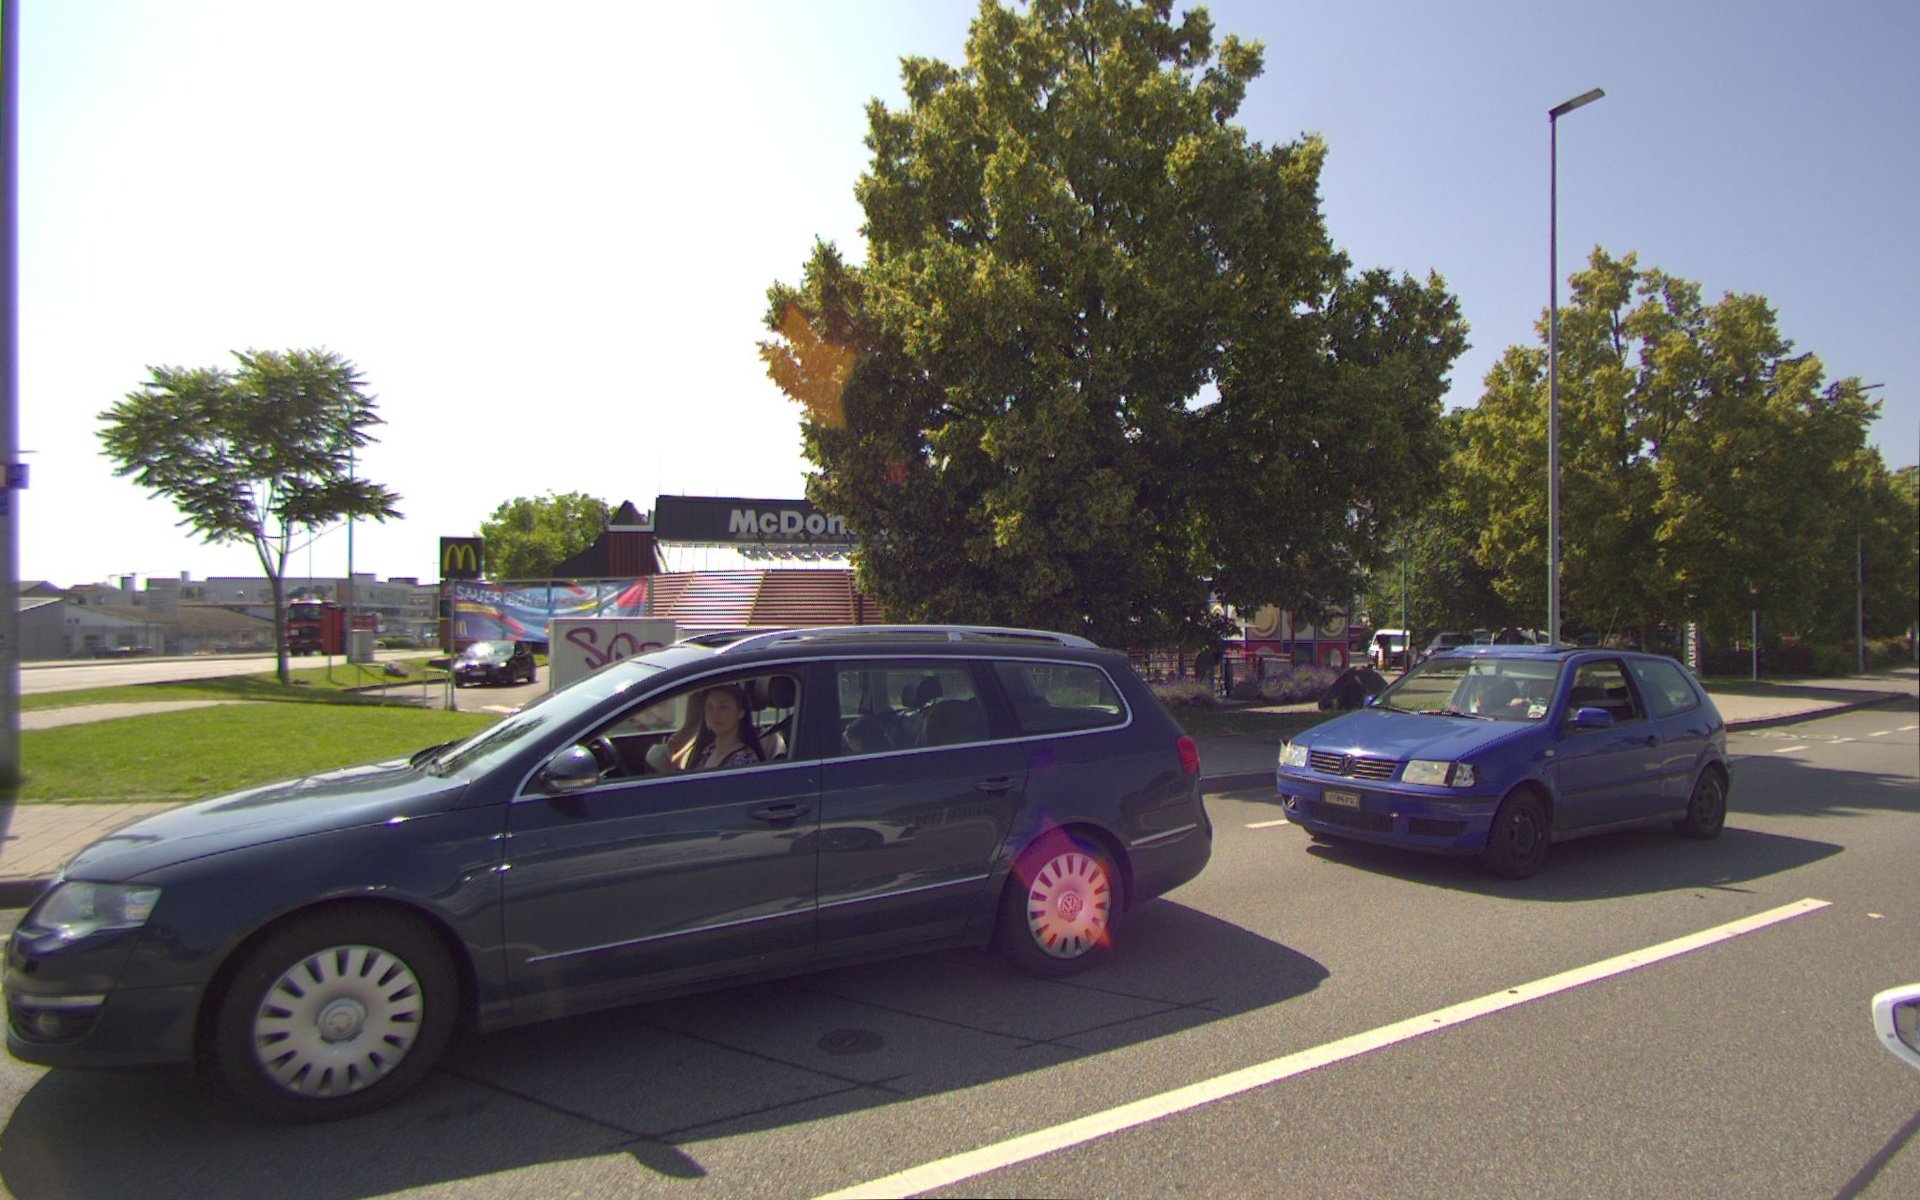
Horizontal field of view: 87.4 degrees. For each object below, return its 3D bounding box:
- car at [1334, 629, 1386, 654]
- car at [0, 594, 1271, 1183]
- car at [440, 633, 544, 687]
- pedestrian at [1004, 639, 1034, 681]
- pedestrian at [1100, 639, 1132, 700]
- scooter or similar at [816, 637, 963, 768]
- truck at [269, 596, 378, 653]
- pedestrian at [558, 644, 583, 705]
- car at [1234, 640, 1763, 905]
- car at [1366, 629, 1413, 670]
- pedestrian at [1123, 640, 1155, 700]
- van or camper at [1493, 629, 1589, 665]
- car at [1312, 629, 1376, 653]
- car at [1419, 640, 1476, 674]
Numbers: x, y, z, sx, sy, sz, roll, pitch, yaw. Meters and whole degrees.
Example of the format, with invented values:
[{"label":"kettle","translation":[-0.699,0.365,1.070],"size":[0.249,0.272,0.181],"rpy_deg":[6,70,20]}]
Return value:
[{"label":"car","translation":[25.422,2.644,63.946],"size":[1.475,1.546,3.426],"rpy_deg":[0,-2,-11]},{"label":"car","translation":[-0.977,0.792,4.442],"size":[4.664,1.516,1.772],"rpy_deg":[1,-2,-29]},{"label":"car","translation":[-14.687,1.849,31.762],"size":[1.831,1.572,4.183],"rpy_deg":[0,-2,-8]},{"label":"pedestrian","translation":[2.152,2.190,36.909],"size":[0.746,1.493,0.827],"rpy_deg":[1,-2,-36]},{"label":"pedestrian","translation":[5.367,2.371,34.567],"size":[0.746,2.040,0.827],"rpy_deg":[1,-2,-36]},{"label":"scooter or similar","translation":[-0.682,0.967,9.751],"size":[1.345,1.200,0.471],"rpy_deg":[0,-1,-21]},{"label":"truck","translation":[-40.944,1.582,65.063],"size":[3.258,3.431,9.142],"rpy_deg":[0,-1,-14]},{"label":"pedestrian","translation":[-11.795,2.236,30.441],"size":[0.628,1.781,0.889],"rpy_deg":[0,-1,-18]},{"label":"car","translation":[3.982,1.011,7.263],"size":[3.956,1.399,1.647],"rpy_deg":[1,-2,-32]},{"label":"car","translation":[19.454,2.188,45.370],"size":[1.686,1.758,4.244],"rpy_deg":[-1,-2,27]},{"label":"pedestrian","translation":[6.240,2.418,34.993],"size":[0.746,2.040,0.827],"rpy_deg":[1,-2,-36]},{"label":"van or camper","translation":[29.981,2.402,51.862],"size":[4.211,1.763,1.995],"rpy_deg":[-1,-2,32]},{"label":"car","translation":[27.111,2.889,70.966],"size":[3.937,1.619,1.791],"rpy_deg":[-1,-2,38]},{"label":"car","translation":[20.385,2.336,42.130],"size":[1.576,1.303,4.001],"rpy_deg":[-1,-2,18]}]
